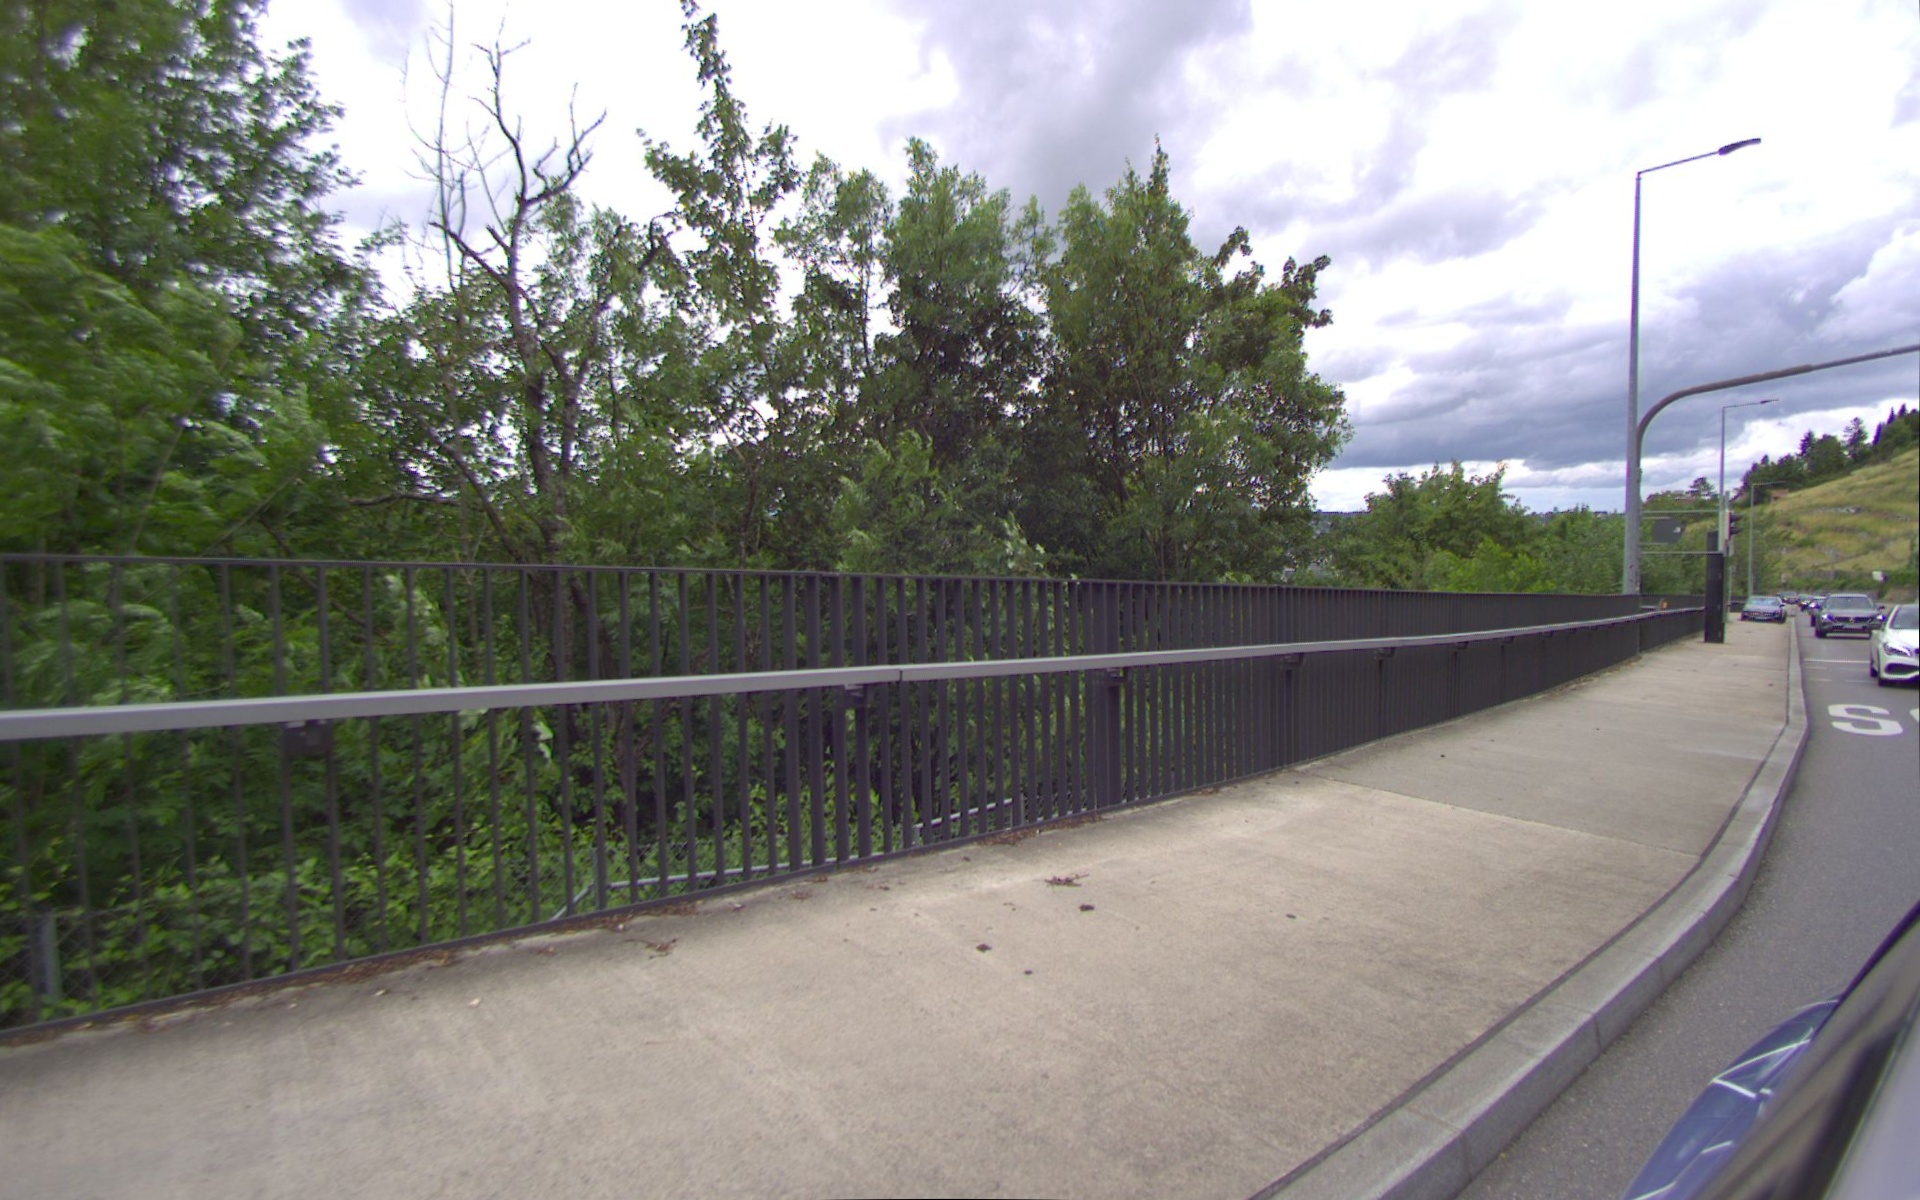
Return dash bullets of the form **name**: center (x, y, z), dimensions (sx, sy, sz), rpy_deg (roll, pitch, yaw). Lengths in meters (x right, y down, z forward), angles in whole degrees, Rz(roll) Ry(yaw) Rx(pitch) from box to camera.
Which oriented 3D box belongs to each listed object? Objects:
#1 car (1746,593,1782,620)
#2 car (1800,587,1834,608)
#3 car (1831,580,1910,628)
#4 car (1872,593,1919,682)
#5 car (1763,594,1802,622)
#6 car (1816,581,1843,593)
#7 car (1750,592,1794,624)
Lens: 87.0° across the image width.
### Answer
- **car**: center (51.788, 0.372, 65.174), dimensions (1.658, 1.591, 4.194), rpy_deg (4, 3, 40)
- **car**: center (68.216, -0.239, 80.570), dimensions (1.991, 1.603, 3.941), rpy_deg (1, 1, 41)
- **car**: center (33.022, 0.135, 36.796), dimensions (1.991, 1.609, 3.941), rpy_deg (-2, -1, 41)
- **car**: center (17.445, 0.643, 17.796), dimensions (1.895, 1.445, 4.203), rpy_deg (-1, -1, 40)
- **car**: center (49.146, 0.444, 60.417), dimensions (1.724, 1.588, 4.558), rpy_deg (2, 2, 40)
- **car**: center (131.666, -1.979, 153.233), dimensions (1.800, 1.719, 4.436), rpy_deg (0, 0, 23)
- **car**: center (44.745, 0.405, 55.726), dimensions (1.755, 1.563, 4.363), rpy_deg (4, 3, 40)
